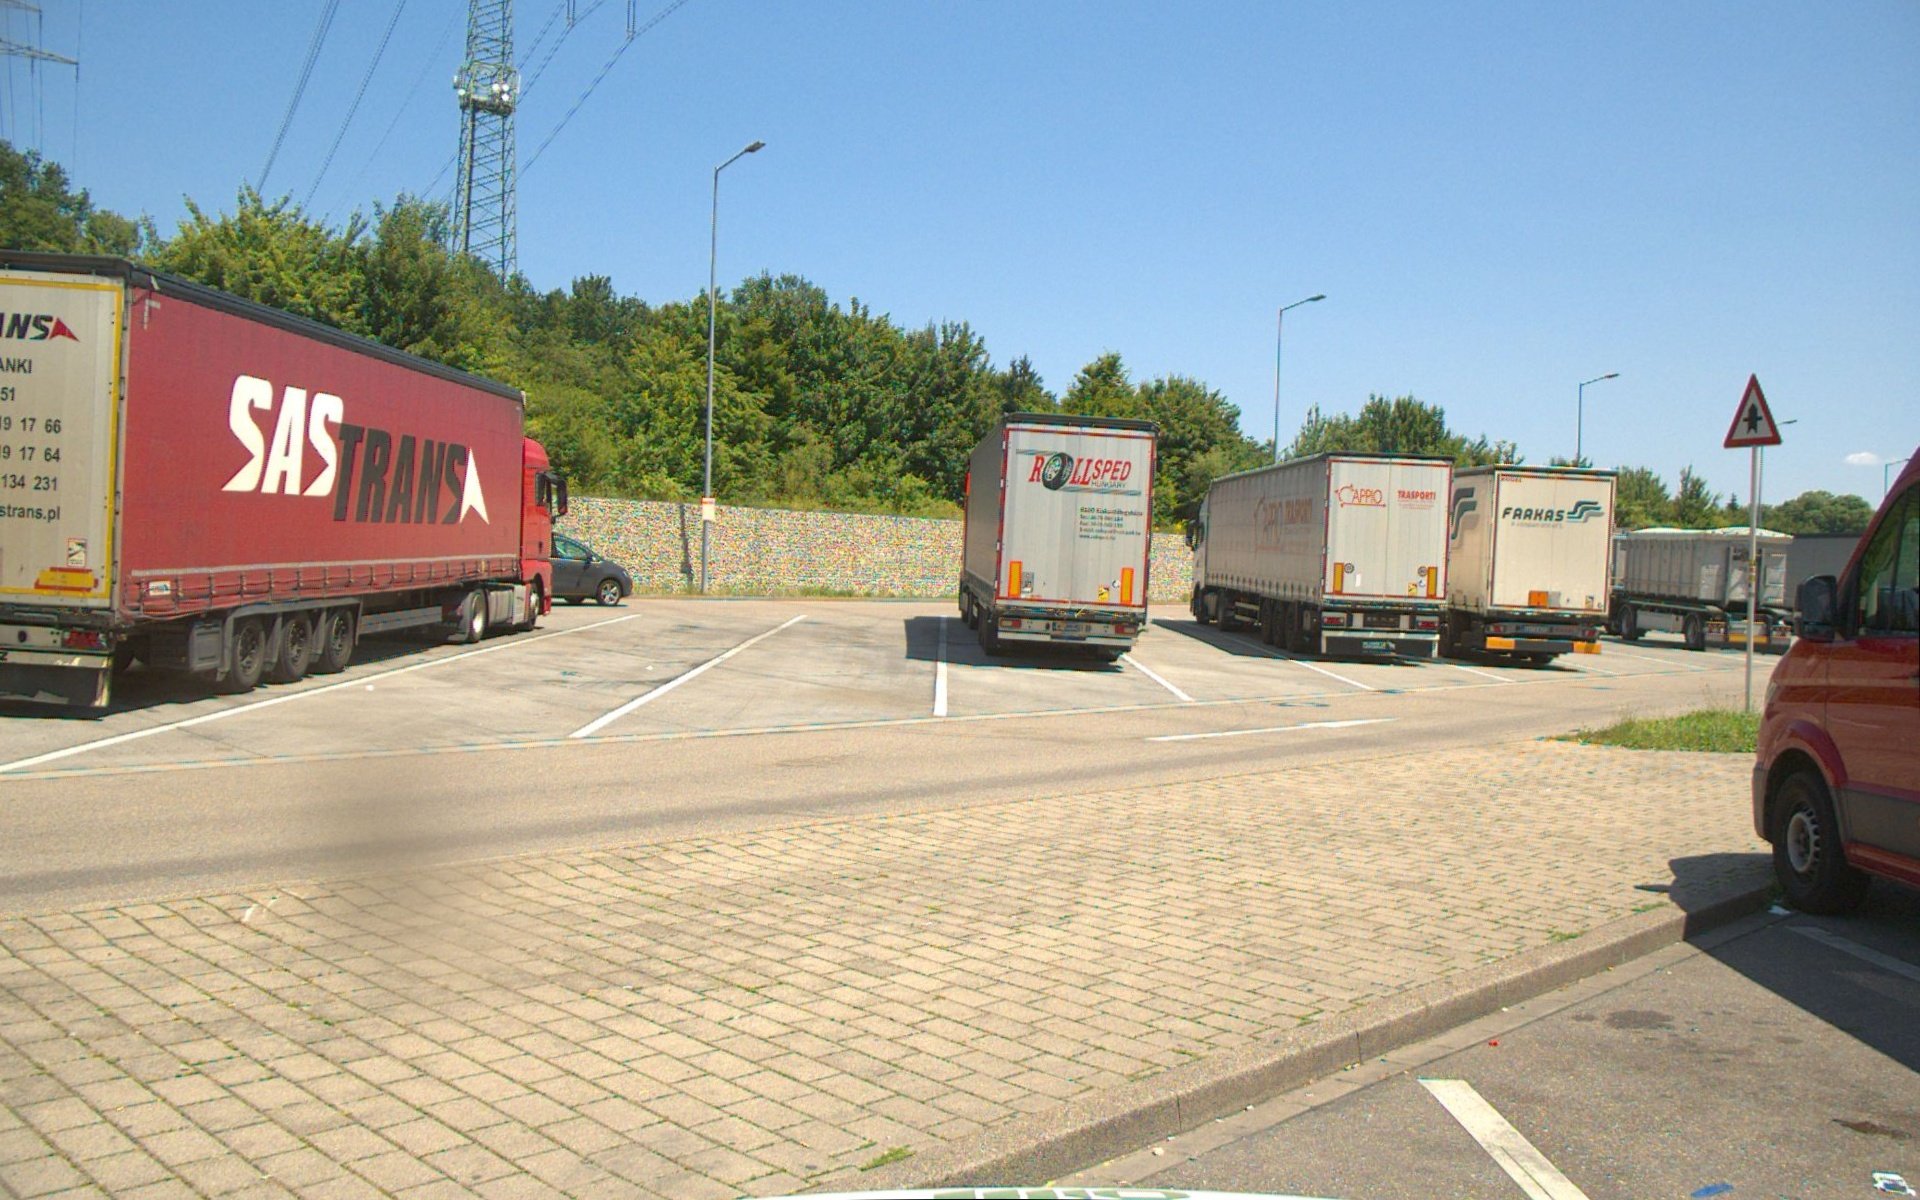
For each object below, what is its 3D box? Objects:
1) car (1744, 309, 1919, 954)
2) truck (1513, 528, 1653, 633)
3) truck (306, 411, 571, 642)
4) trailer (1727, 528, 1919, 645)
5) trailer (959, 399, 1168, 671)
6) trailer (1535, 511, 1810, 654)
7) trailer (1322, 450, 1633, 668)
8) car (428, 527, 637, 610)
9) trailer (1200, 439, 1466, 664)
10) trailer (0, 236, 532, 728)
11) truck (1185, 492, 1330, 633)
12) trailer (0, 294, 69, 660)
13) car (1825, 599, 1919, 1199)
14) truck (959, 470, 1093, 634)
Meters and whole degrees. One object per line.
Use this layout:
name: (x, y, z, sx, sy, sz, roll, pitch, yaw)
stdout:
car: (5.004, 0.169, 5.559, 2.023, 2.742, 6.397, 1, 1, 4)
truck: (22.001, -0.729, 58.711, 2.794, 3.423, 5.484, 3, 2, 0)
truck: (-8.799, -1.231, 28.620, 2.794, 3.487, 5.482, 3, 2, -1)
trailer: (34.932, -0.650, 65.412, 2.780, 4.119, 13.726, 3, 2, 1)
trailer: (1.644, -1.248, 33.238, 2.848, 4.204, 13.720, 2, 2, -2)
trailer: (21.921, -0.695, 52.207, 2.780, 3.781, 13.726, 3, 2, 1)
trailer: (11.764, -1.029, 39.632, 2.781, 4.204, 13.722, 3, 2, -1)
car: (-10.097, -0.723, 39.246, 4.474, 1.737, 1.760, 1, 3, -43)
trailer: (8.204, -1.153, 38.827, 2.781, 4.204, 13.722, 3, 2, -1)
trailer: (-8.685, -1.317, 21.185, 2.848, 4.203, 13.723, 3, 2, -1)
truck: (8.090, -1.057, 45.637, 2.794, 3.544, 5.482, 3, 2, -1)
trailer: (-12.530, -1.329, 15.702, 2.673, 4.282, 10.170, 2, 2, -1)
car: (2.592, 0.804, 1.155, 1.703, 1.508, 3.813, 1, 1, -6)
truck: (1.476, -1.166, 39.847, 2.794, 3.544, 5.482, 3, 2, -1)
